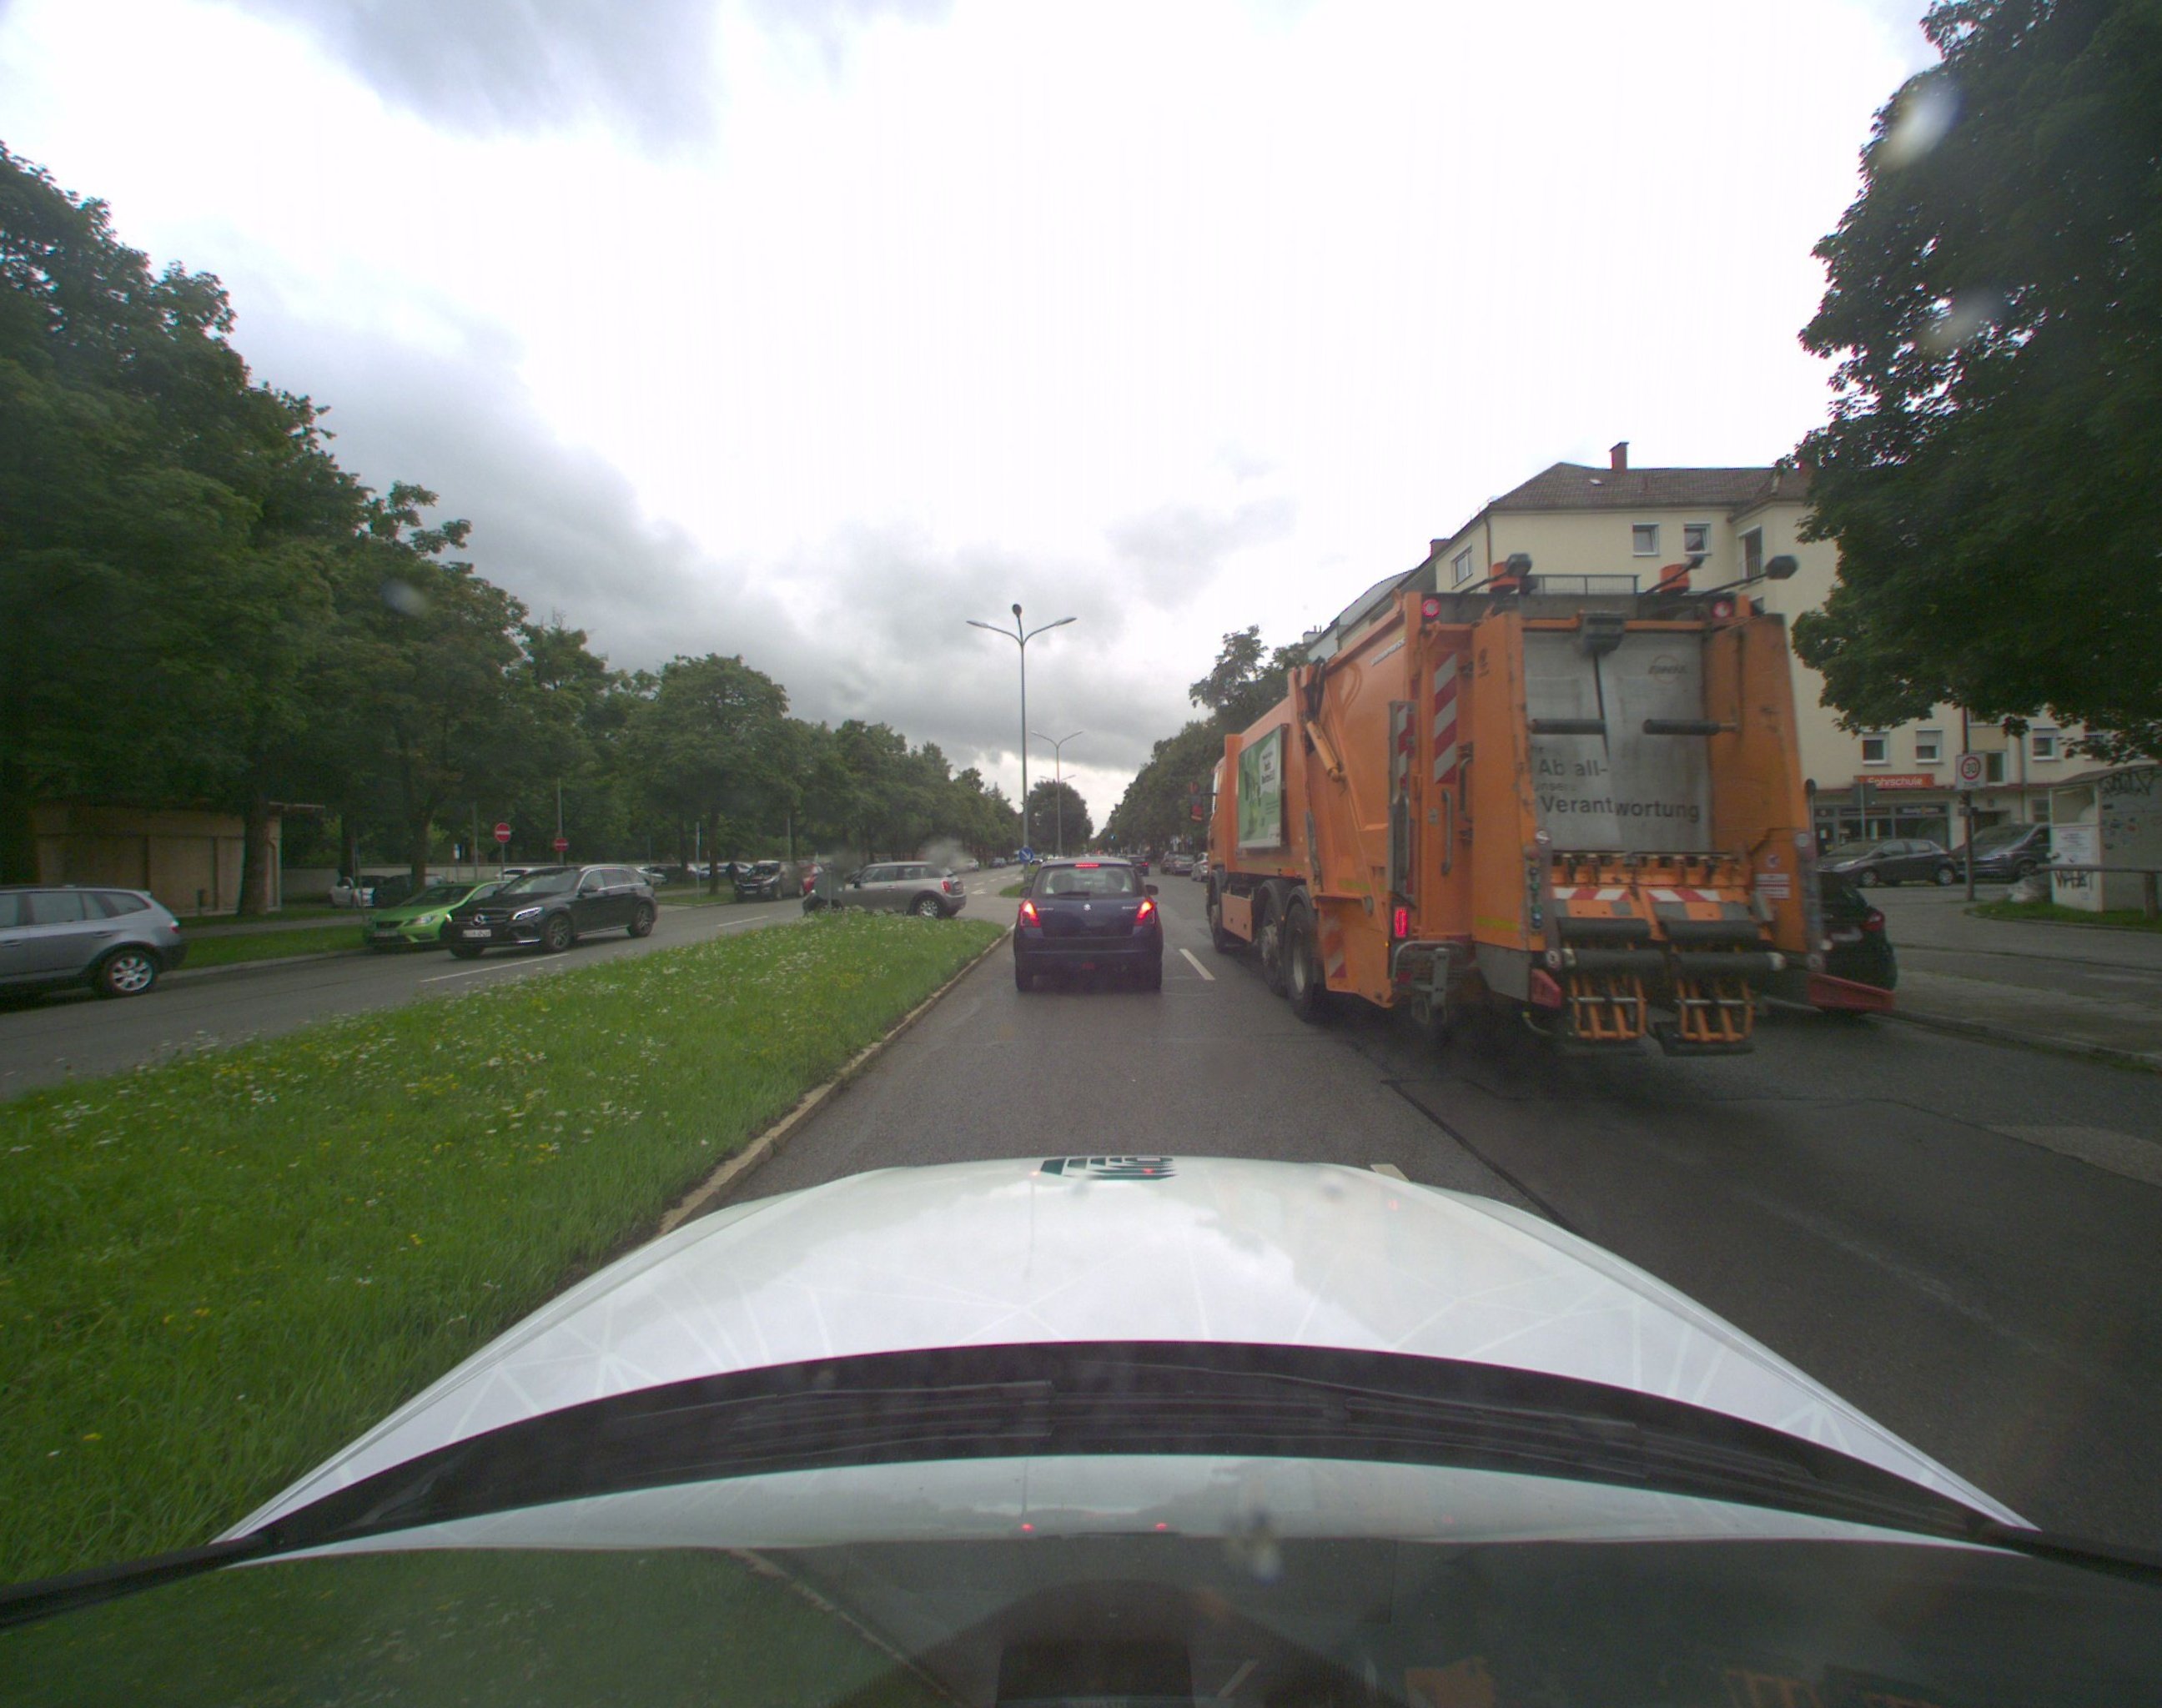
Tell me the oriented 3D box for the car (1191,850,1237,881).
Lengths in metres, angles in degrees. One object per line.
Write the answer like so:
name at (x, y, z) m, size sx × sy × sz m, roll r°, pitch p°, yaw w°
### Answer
car at (7.147, 0.581, 44.054) m, size 1.786 × 1.558 × 4.224 m, roll -2°, pitch 0°, yaw 0°

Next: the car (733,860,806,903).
car at (-13.699, 1.162, 36.031) m, size 1.711 × 1.741 × 3.879 m, roll -1°, pitch 0°, yaw 0°

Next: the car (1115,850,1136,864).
car at (4.563, 0.294, 83.634) m, size 1.726 × 1.432 × 4.439 m, roll 0°, pitch 0°, yaw -2°

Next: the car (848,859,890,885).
car at (-13.369, 1.119, 51.486) m, size 1.585 × 1.558 × 3.879 m, roll -1°, pitch 0°, yaw 0°

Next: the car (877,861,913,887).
car at (-13.193, 1.376, 57.861) m, size 1.627 × 1.741 × 3.879 m, roll -1°, pitch 0°, yaw 0°

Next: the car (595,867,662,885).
car at (-37.492, 1.827, 67.537) m, size 4.674 × 1.445 × 1.673 m, roll -1°, pitch 0°, yaw 1°

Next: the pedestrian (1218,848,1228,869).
pedestrian at (14.230, 0.452, 81.662) m, size 0.791 × 2.013 × 1.006 m, roll -1°, pitch 0°, yaw 1°

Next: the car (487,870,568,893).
car at (-38.509, 1.900, 56.750) m, size 4.489 × 1.476 × 1.673 m, roll -1°, pitch -1°, yaw 1°

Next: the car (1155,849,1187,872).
car at (6.814, 0.465, 62.147) m, size 1.860 × 1.682 × 4.223 m, roll -2°, pitch 0°, yaw -1°

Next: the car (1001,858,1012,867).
car at (-13.360, 1.450, 146.055) m, size 1.627 × 1.583 × 3.879 m, roll -1°, pitch 0°, yaw 0°

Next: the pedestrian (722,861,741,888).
pedestrian at (-20.170, 1.179, 47.026) m, size 0.725 × 1.534 × 0.721 m, roll -1°, pitch -1°, yaw 1°

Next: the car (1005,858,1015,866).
car at (-13.579, 1.484, 155.880) m, size 1.627 × 1.583 × 3.879 m, roll -1°, pitch 0°, yaw 0°

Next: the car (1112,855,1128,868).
car at (4.436, 0.839, 93.550) m, size 1.676 × 1.383 × 3.919 m, roll 0°, pitch 0°, yaw 1°

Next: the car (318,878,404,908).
car at (-31.468, 1.671, 35.573) m, size 4.363 × 1.201 × 1.683 m, roll -1°, pitch -1°, yaw 33°

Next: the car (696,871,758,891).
car at (-26.232, 1.997, 60.511) m, size 3.859 × 1.445 × 1.670 m, roll -1°, pitch 0°, yaw -5°

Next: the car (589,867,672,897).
car at (-26.616, 1.639, 48.169) m, size 3.911 × 1.718 × 1.670 m, roll -1°, pitch 0°, yaw -5°

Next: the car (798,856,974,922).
car at (-4.616, 0.819, 19.546) m, size 3.702 × 1.463 × 1.691 m, roll -1°, pitch 0°, yaw 6°

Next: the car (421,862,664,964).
car at (-10.520, 1.052, 16.416) m, size 1.760 × 1.623 × 4.507 m, roll -3°, pitch 0°, yaw 1°

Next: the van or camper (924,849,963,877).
van or camper at (-12.974, 0.818, 77.385) m, size 2.109 × 2.482 × 7.452 m, roll -1°, pitch 0°, yaw 2°

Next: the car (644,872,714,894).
car at (-27.116, 1.950, 55.041) m, size 3.859 × 1.445 × 1.670 m, roll -1°, pitch 0°, yaw -5°

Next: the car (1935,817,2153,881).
car at (30.446, -0.156, 25.841) m, size 4.721 × 1.773 × 1.871 m, roll -2°, pitch 0°, yaw -1°

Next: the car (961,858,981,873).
car at (-12.538, 1.302, 92.907) m, size 1.627 × 1.583 × 3.879 m, roll -1°, pitch 0°, yaw 0°

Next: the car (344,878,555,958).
car at (-14.158, 1.368, 18.580) m, size 1.541 × 1.409 × 3.883 m, roll -3°, pitch 0°, yaw 4°

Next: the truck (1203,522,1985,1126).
truck at (3.410, -0.158, 8.914) m, size 3.027 × 3.189 × 9.137 m, roll -1°, pitch 0°, yaw 2°

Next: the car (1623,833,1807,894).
car at (19.653, 0.273, 25.359) m, size 4.384 × 1.661 × 1.869 m, roll -2°, pitch 0°, yaw -4°

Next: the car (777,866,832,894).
car at (-13.862, 1.283, 41.059) m, size 1.585 × 1.312 × 3.380 m, roll -1°, pitch 0°, yaw 0°

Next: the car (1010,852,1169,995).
car at (0.098, 0.746, 10.713) m, size 1.676 × 1.502 × 3.918 m, roll -1°, pitch 0°, yaw 0°

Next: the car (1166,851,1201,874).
car at (7.193, 0.560, 57.321) m, size 1.860 × 1.517 × 4.223 m, roll -2°, pitch 0°, yaw -1°

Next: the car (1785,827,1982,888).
car at (24.974, 0.102, 25.437) m, size 4.382 × 1.661 × 1.870 m, roll -2°, pitch 0°, yaw -2°

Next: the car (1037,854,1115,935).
car at (-0.084, 0.750, 16.803) m, size 1.439 × 1.483 × 3.106 m, roll -1°, pitch 0°, yaw 0°

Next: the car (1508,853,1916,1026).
car at (6.328, 0.735, 8.766) m, size 1.611 × 1.465 × 3.675 m, roll 0°, pitch 0°, yaw 1°

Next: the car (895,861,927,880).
car at (-13.180, 1.258, 63.198) m, size 1.627 × 1.431 × 3.879 m, roll -1°, pitch 0°, yaw 0°

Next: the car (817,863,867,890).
car at (-13.460, 1.254, 46.045) m, size 1.662 × 1.445 × 3.879 m, roll -1°, pitch 0°, yaw 0°

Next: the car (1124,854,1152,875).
car at (3.984, 0.726, 57.662) m, size 1.752 × 1.413 × 4.463 m, roll 0°, pitch 0°, yaw 1°

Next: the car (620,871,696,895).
car at (-26.327, 1.791, 50.765) m, size 3.859 × 1.445 × 1.670 m, roll -1°, pitch 0°, yaw -5°

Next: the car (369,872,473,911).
car at (-26.635, 1.467, 32.855) m, size 4.363 × 1.445 × 1.973 m, roll -1°, pitch -1°, yaw 33°

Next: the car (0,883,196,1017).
car at (-14.342, 1.283, 10.172) m, size 1.685 × 1.586 × 4.371 m, roll -3°, pitch 0°, yaw 0°

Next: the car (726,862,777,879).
car at (-29.362, 1.429, 72.681) m, size 3.859 × 1.445 × 1.670 m, roll -1°, pitch 0°, yaw -5°

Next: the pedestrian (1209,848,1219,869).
pedestrian at (13.292, 0.461, 81.629) m, size 0.791 × 2.013 × 1.006 m, roll -1°, pitch 0°, yaw 1°

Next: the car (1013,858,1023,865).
car at (-12.898, 1.532, 167.288) m, size 1.627 × 1.583 × 3.879 m, roll -1°, pitch 0°, yaw 0°
